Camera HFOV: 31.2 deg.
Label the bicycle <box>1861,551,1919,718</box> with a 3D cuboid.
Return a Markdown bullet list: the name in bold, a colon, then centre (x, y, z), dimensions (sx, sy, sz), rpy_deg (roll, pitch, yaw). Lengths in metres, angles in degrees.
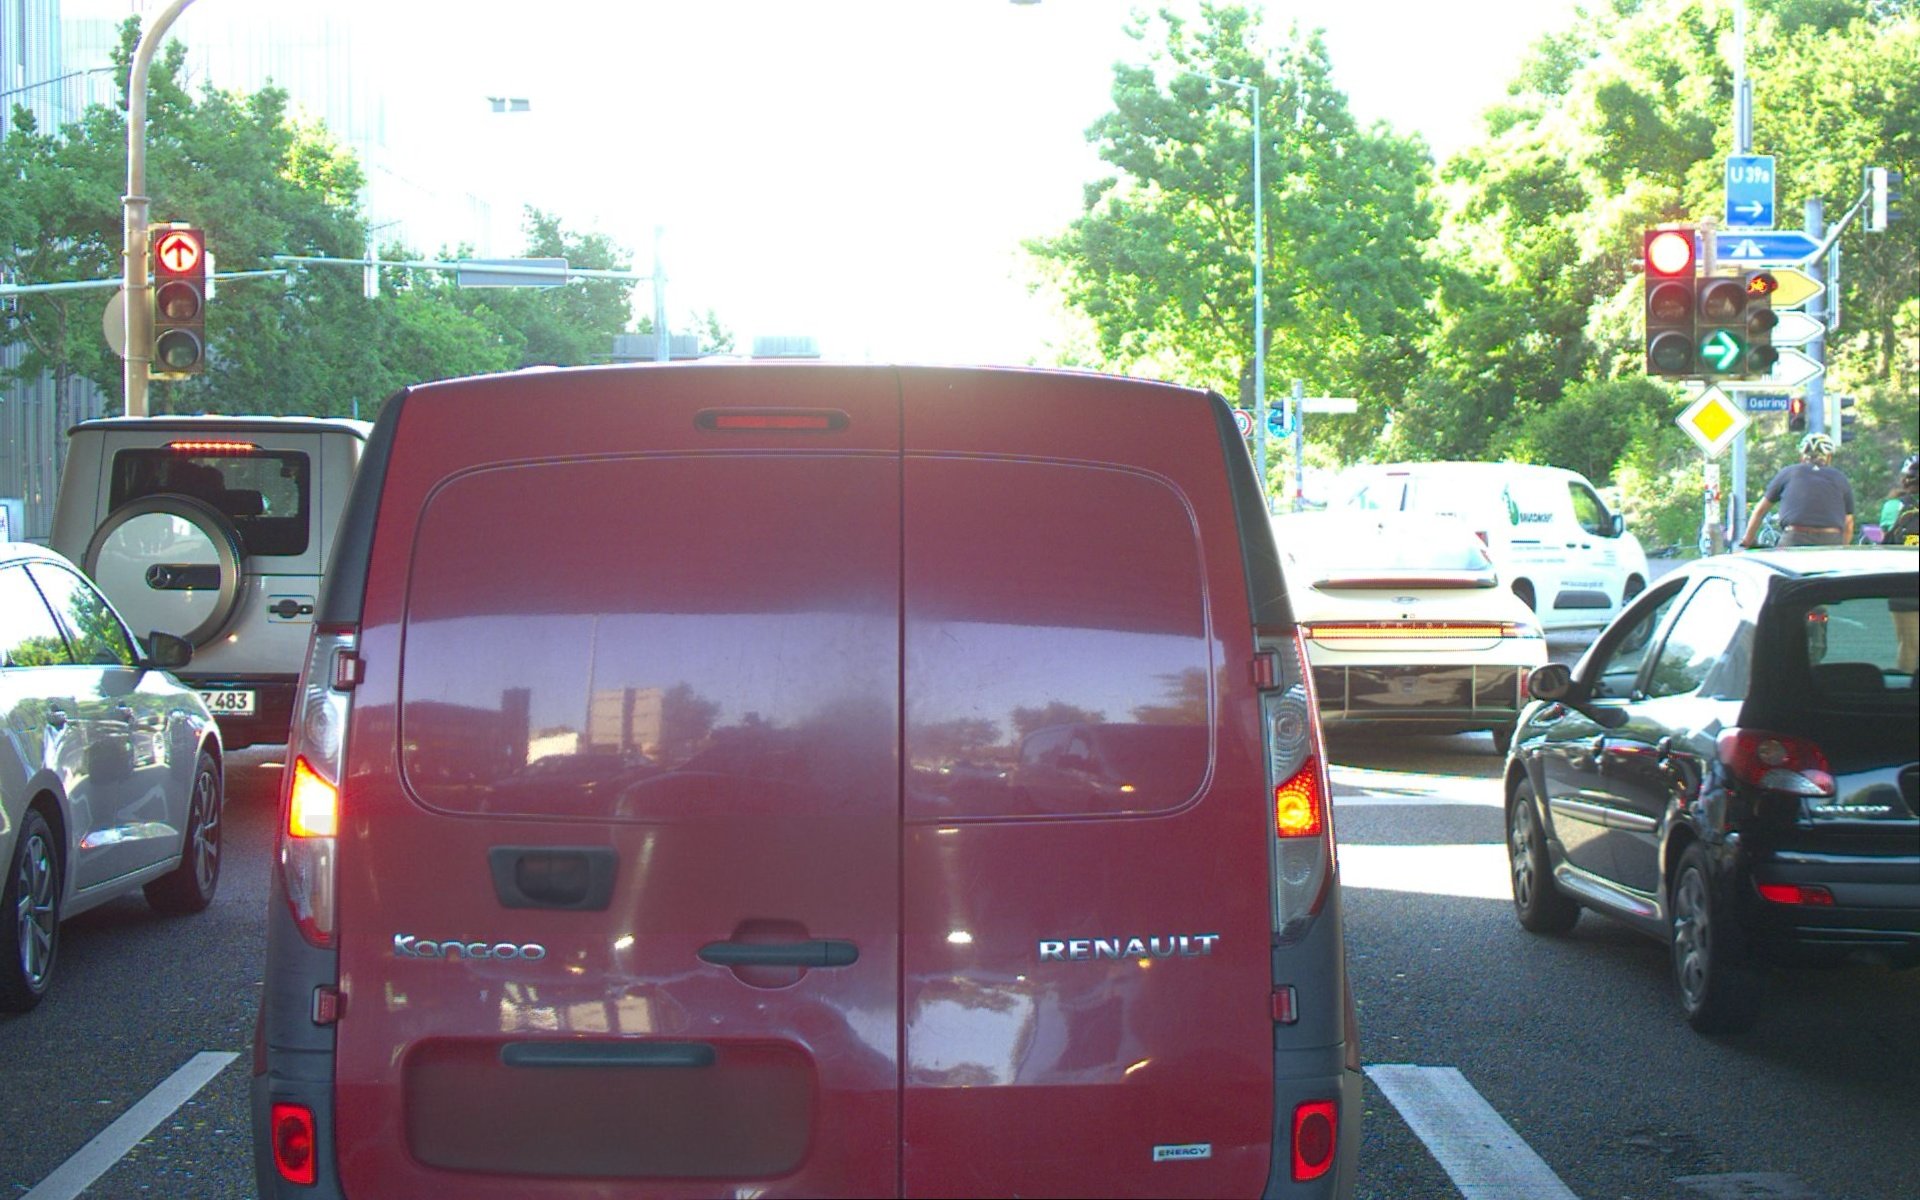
- **bicycle**: centre (6.127, 0.210, 21.772), dimensions (0.677, 1.020, 1.528), rpy_deg (1, 1, 10)

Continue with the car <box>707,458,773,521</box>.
- **car**: centre (-7.416, -3.727, 116.214), dimensions (1.993, 2.007, 4.000), rpy_deg (1, 1, -1)

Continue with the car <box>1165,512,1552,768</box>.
- **car**: centre (2.435, 0.184, 22.125), dimensions (1.745, 1.451, 4.665), rpy_deg (1, 1, -2)

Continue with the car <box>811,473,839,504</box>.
- **car**: centre (-9.167, -7.583, 233.936), dimensions (1.748, 2.007, 3.845), rpy_deg (1, 1, -1)

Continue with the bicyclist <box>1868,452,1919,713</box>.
- **bicyclist**: centre (6.127, -0.107, 21.708), dimensions (0.677, 1.623, 0.644), rpy_deg (1, 0, 10)

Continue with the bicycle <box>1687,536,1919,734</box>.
- **bicycle**: centre (5.250, 0.195, 21.571), dimensions (0.765, 1.142, 2.470), rpy_deg (-2, 1, -1)

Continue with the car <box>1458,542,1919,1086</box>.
- **car**: centre (2.865, 0.555, 11.163), dimensions (1.745, 1.451, 3.717), rpy_deg (1, 1, -3)

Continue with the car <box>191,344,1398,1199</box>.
- **car**: centre (-0.264, 0.483, 6.943), dimensions (1.719, 1.758, 4.000), rpy_deg (1, 1, -1)

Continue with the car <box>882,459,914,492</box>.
- **car**: centre (-3.978, -7.984, 220.621), dimensions (1.993, 2.007, 4.000), rpy_deg (1, 1, -1)

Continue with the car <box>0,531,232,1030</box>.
- **car**: centre (-3.624, 0.474, 11.453), dimensions (1.692, 1.405, 3.814), rpy_deg (1, 1, -2)

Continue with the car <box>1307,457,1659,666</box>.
- **car**: centre (5.085, -0.437, 32.997), dimensions (1.817, 1.827, 4.293), rpy_deg (2, 3, 31)

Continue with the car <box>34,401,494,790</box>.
- **car**: centre (-3.688, -0.059, 18.846), dimensions (1.813, 1.897, 3.814), rpy_deg (1, 1, -1)

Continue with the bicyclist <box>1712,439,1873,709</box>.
- **bicyclist**: centre (5.231, -0.165, 21.640), dimensions (0.746, 1.650, 0.886), rpy_deg (1, 1, -1)
